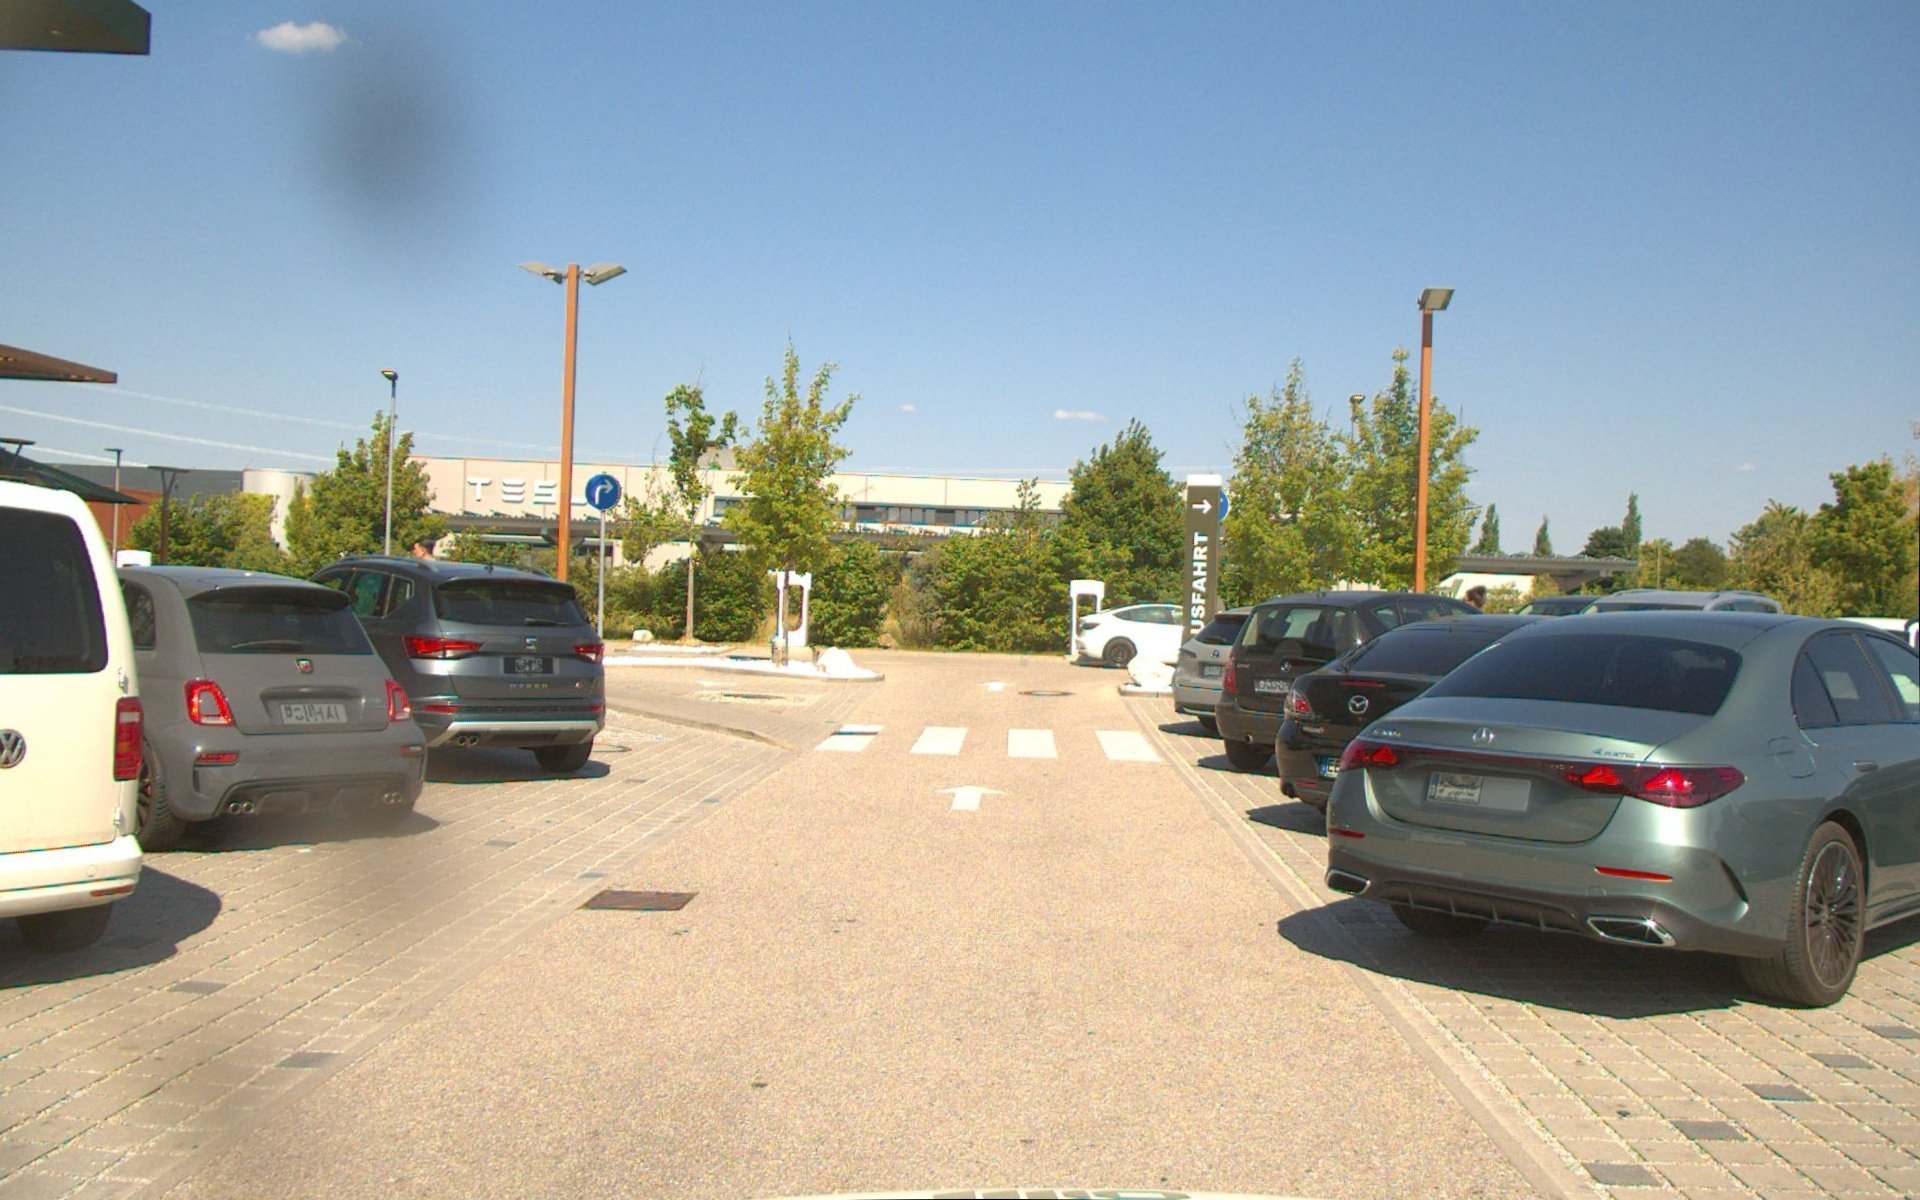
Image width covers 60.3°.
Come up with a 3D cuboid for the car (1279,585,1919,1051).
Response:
[{"bbox_3d":[3.619,0.760,7.758,4.504,1.537,1.858,1,0,-43],"label":"car"}]

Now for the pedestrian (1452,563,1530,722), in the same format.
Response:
[{"bbox_3d":[5.950,0.466,18.538,0.557,1.743,0.603,1,0,-35],"label":"pedestrian"}]

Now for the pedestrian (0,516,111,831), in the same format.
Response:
[{"bbox_3d":[-5.201,0.402,9.329,0.608,1.714,0.436,1,0,-44],"label":"pedestrian"}]

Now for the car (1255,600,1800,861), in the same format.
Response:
[{"bbox_3d":[4.066,0.791,11.557,4.038,1.474,1.802,1,0,-40],"label":"car"}]

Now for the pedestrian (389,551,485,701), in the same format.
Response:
[{"bbox_3d":[-5.772,0.275,18.284,0.711,1.611,0.742,1,0,12],"label":"pedestrian"}]

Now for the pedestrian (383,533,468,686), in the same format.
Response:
[{"bbox_3d":[-6.488,0.112,20.115,0.785,1.799,0.895,1,0,-7],"label":"pedestrian"}]

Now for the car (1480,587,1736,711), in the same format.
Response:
[{"bbox_3d":[9.214,0.628,23.351,1.865,1.563,4.160,1,1,45],"label":"car"}]

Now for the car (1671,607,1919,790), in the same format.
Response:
[{"bbox_3d":[8.336,0.808,15.339,4.050,1.432,1.765,0,1,-44],"label":"car"}]

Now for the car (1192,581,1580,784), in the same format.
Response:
[{"bbox_3d":[4.075,0.695,15.451,1.781,1.621,3.972,1,0,44],"label":"car"}]

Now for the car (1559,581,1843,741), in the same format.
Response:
[{"bbox_3d":[8.789,0.650,19.458,4.037,1.668,1.719,1,1,-45],"label":"car"}]

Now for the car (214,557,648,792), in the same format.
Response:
[{"bbox_3d":[-4.465,0.489,13.592,1.777,1.631,4.160,1,0,-43],"label":"car"}]

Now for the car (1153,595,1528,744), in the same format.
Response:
[{"bbox_3d":[4.452,0.710,18.938,4.619,1.472,1.809,0,1,-41],"label":"car"}]

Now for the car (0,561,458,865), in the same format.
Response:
[{"bbox_3d":[-4.690,0.552,10.067,3.353,1.508,1.559,2,0,41],"label":"car"}]

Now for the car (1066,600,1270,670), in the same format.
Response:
[{"bbox_3d":[4.552,0.755,36.616,4.340,1.401,1.823,1,0,5],"label":"car"}]

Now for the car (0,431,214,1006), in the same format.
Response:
[{"bbox_3d":[-4.920,0.359,6.798,4.067,1.955,1.749,2,0,40],"label":"car"}]
